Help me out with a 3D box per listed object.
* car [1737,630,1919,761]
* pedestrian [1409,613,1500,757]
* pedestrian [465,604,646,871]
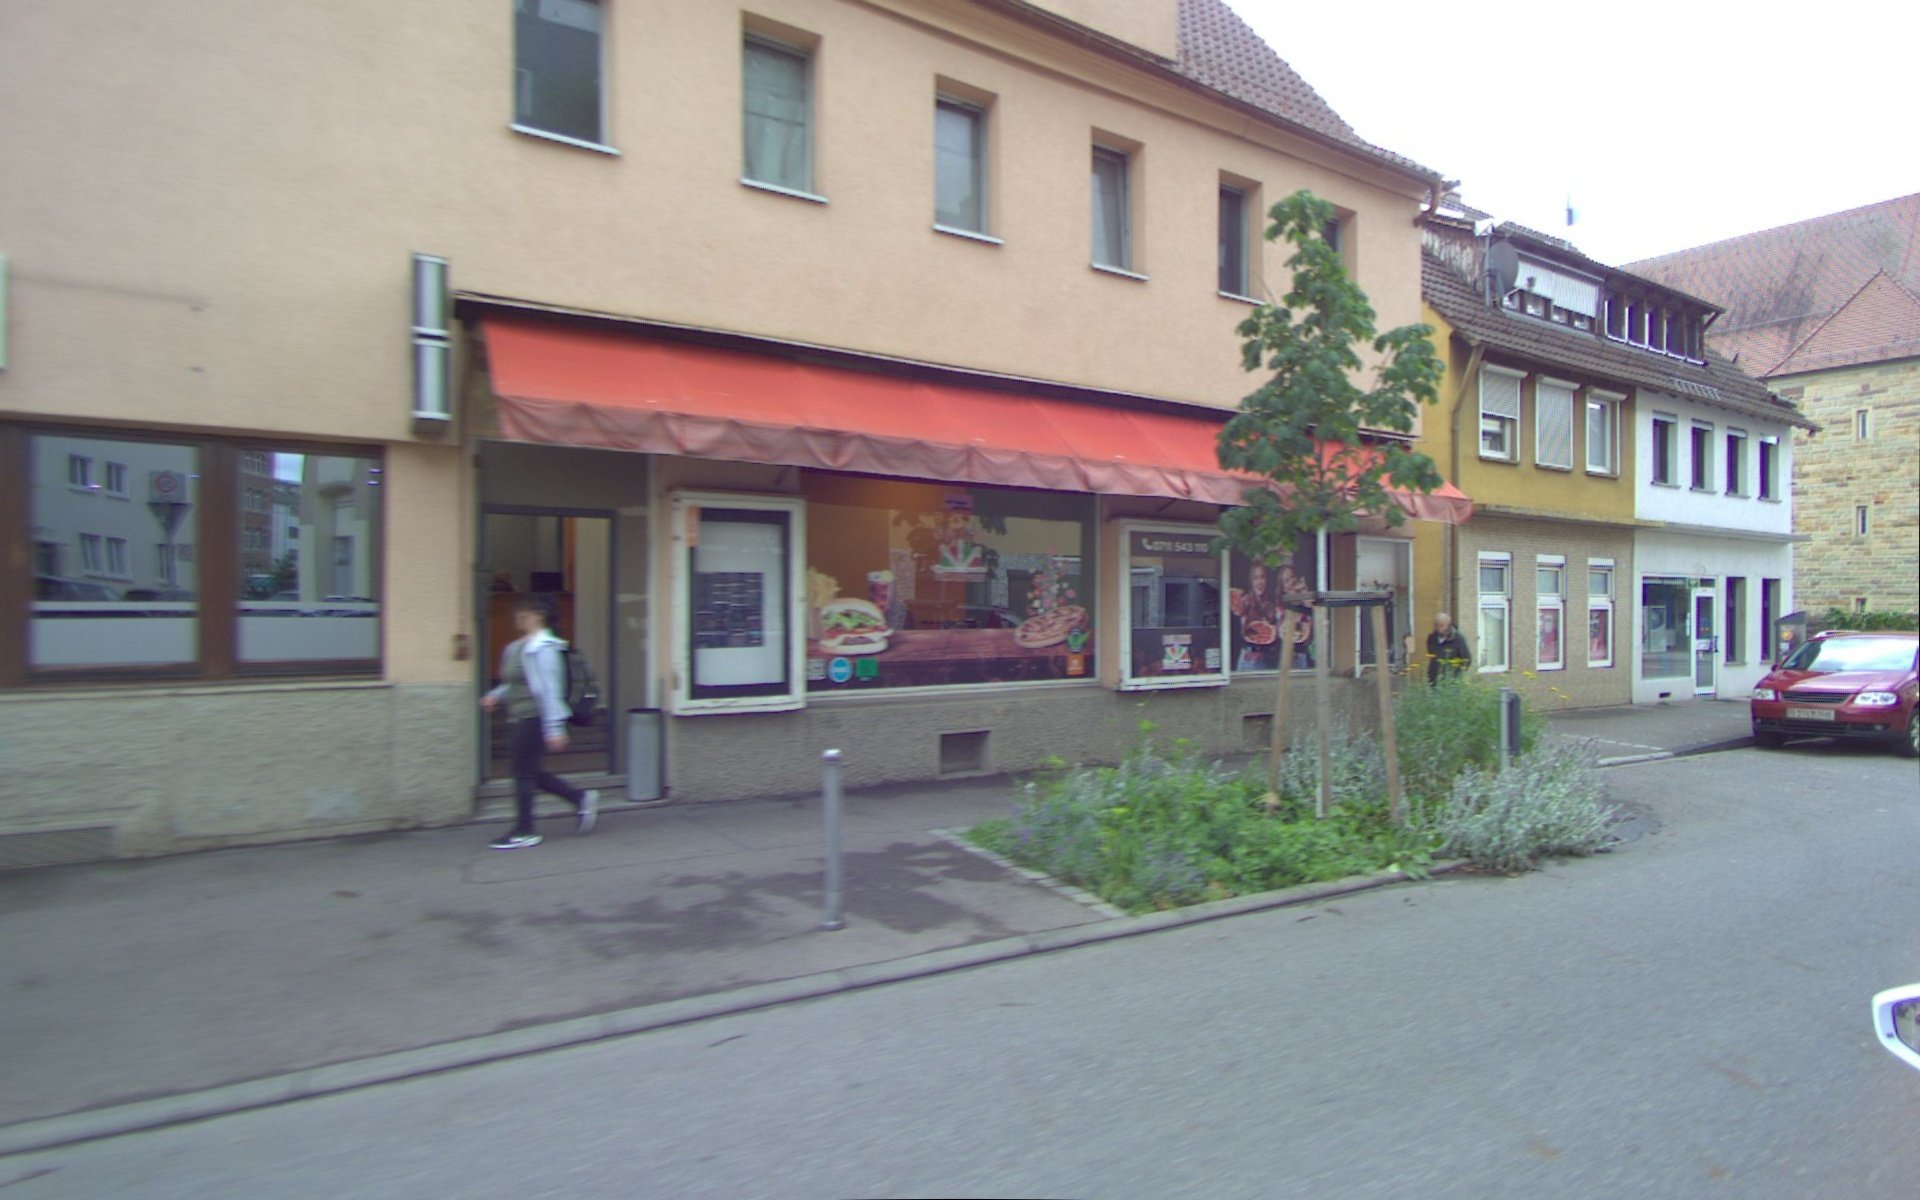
[{"bbox_3d":[13.126,1.249,14.397,4.401,1.594,1.694,0,-2,-32],"label":"car"},{"bbox_3d":[5.944,0.990,12.079,0.751,1.650,0.725,0,0,-37],"label":"pedestrian"},{"bbox_3d":[-2.603,0.810,6.447,0.972,1.555,0.734,0,0,-32],"label":"pedestrian"}]
